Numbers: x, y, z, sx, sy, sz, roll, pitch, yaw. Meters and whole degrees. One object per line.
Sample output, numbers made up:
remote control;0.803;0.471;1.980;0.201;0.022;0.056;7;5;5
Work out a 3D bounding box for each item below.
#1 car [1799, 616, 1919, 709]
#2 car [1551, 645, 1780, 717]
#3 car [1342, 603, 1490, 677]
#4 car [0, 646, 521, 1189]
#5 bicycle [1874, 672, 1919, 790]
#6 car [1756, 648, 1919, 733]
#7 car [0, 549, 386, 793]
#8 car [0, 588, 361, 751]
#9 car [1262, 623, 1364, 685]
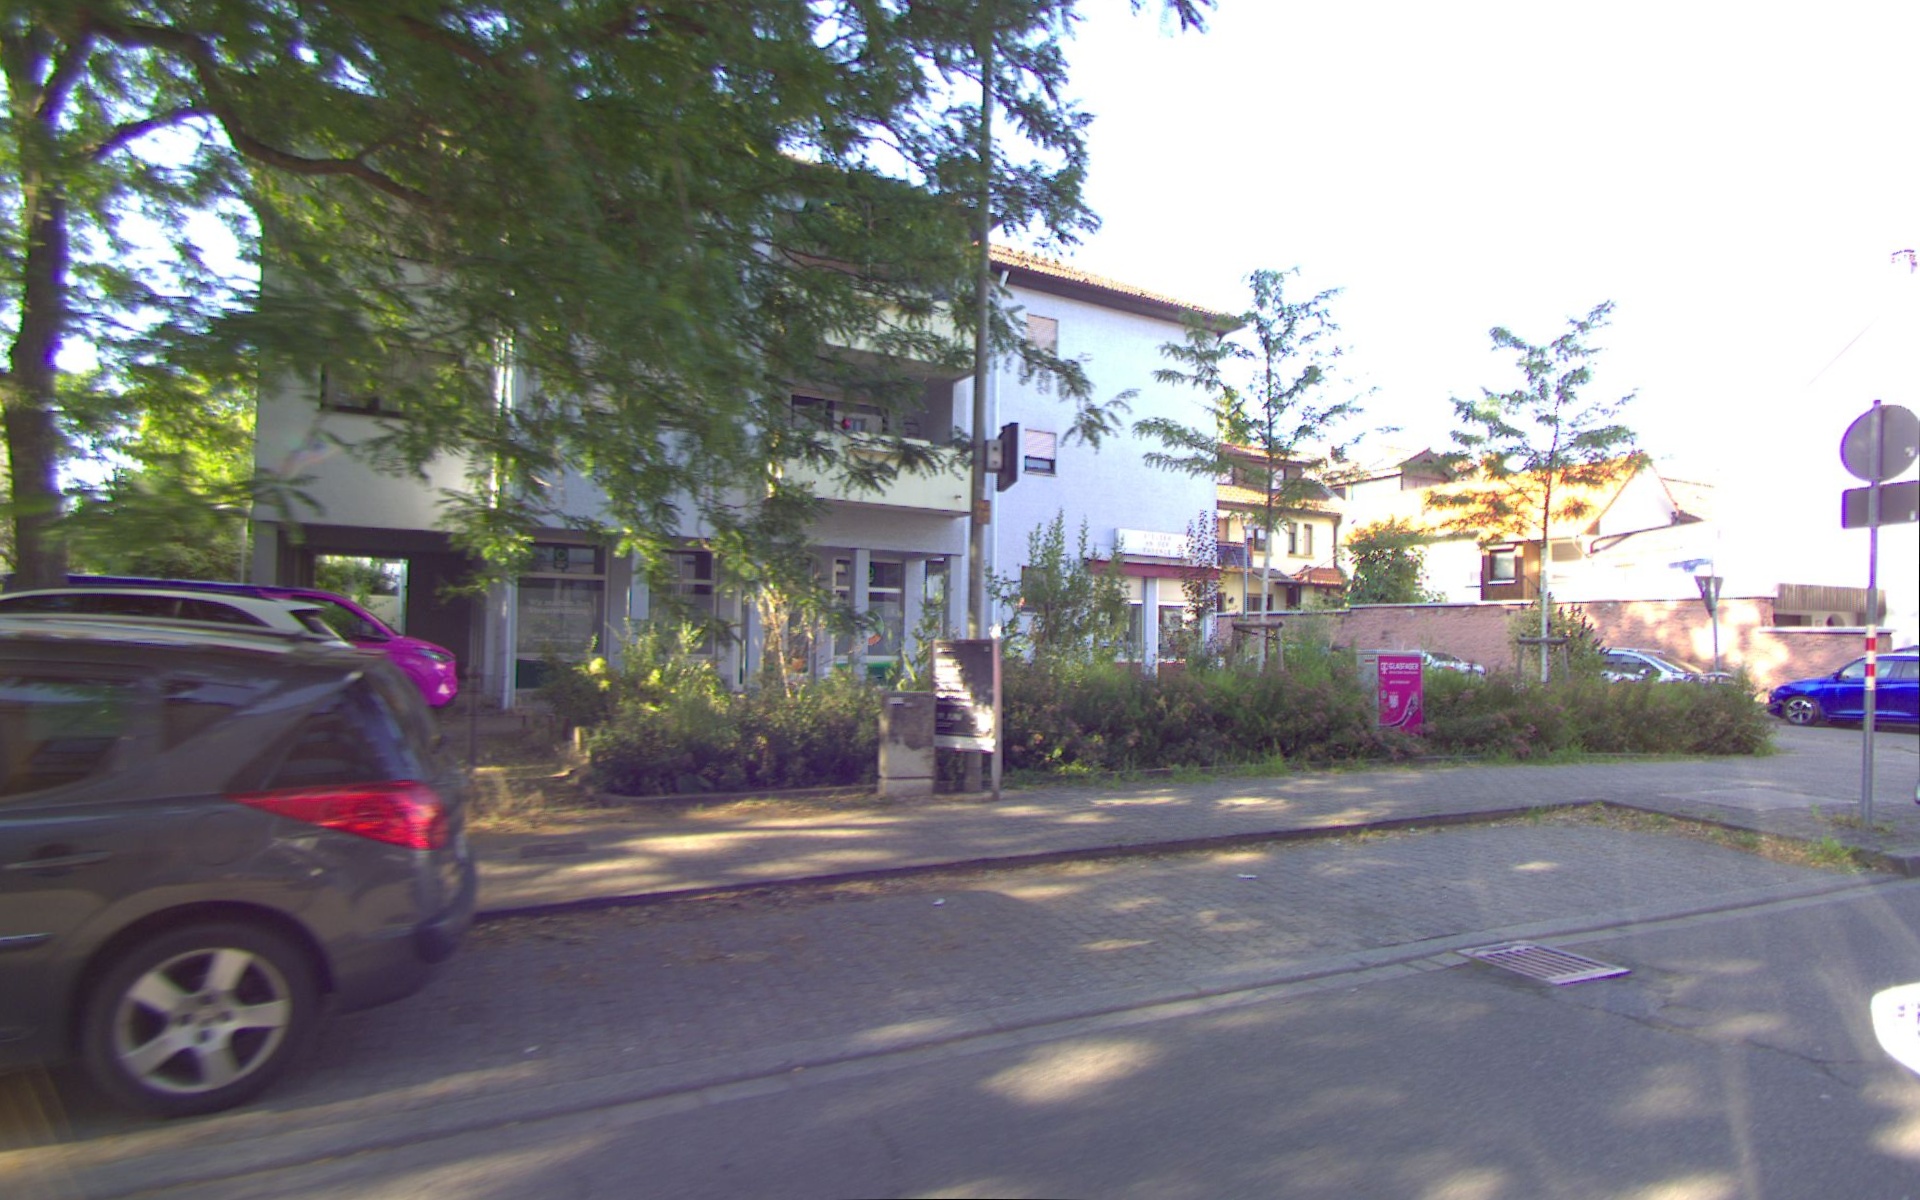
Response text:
car;21.259;1.387;21.737;1.959;1.819;4.354;-1;2;-22
car;16.536;1.872;23.774;1.971;1.520;3.980;0;-3;-22
car;13.403;1.185;29.756;1.899;2.040;3.651;1;-2;-25
car;-3.667;0.931;3.380;3.947;1.511;1.691;2;-2;-26
bicycle;9.336;1.182;9.154;1.912;1.016;0.702;1;-1;-21
car;18.226;1.715;19.575;1.971;1.550;3.761;0;-3;-22
car;-7.871;0.583;8.797;4.845;1.920;1.836;1;-2;-28
car;-10.883;0.907;13.892;4.283;1.974;2.004;2;-2;-36
car;11.740;1.758;33.557;1.369;1.910;3.083;3;-1;-26
